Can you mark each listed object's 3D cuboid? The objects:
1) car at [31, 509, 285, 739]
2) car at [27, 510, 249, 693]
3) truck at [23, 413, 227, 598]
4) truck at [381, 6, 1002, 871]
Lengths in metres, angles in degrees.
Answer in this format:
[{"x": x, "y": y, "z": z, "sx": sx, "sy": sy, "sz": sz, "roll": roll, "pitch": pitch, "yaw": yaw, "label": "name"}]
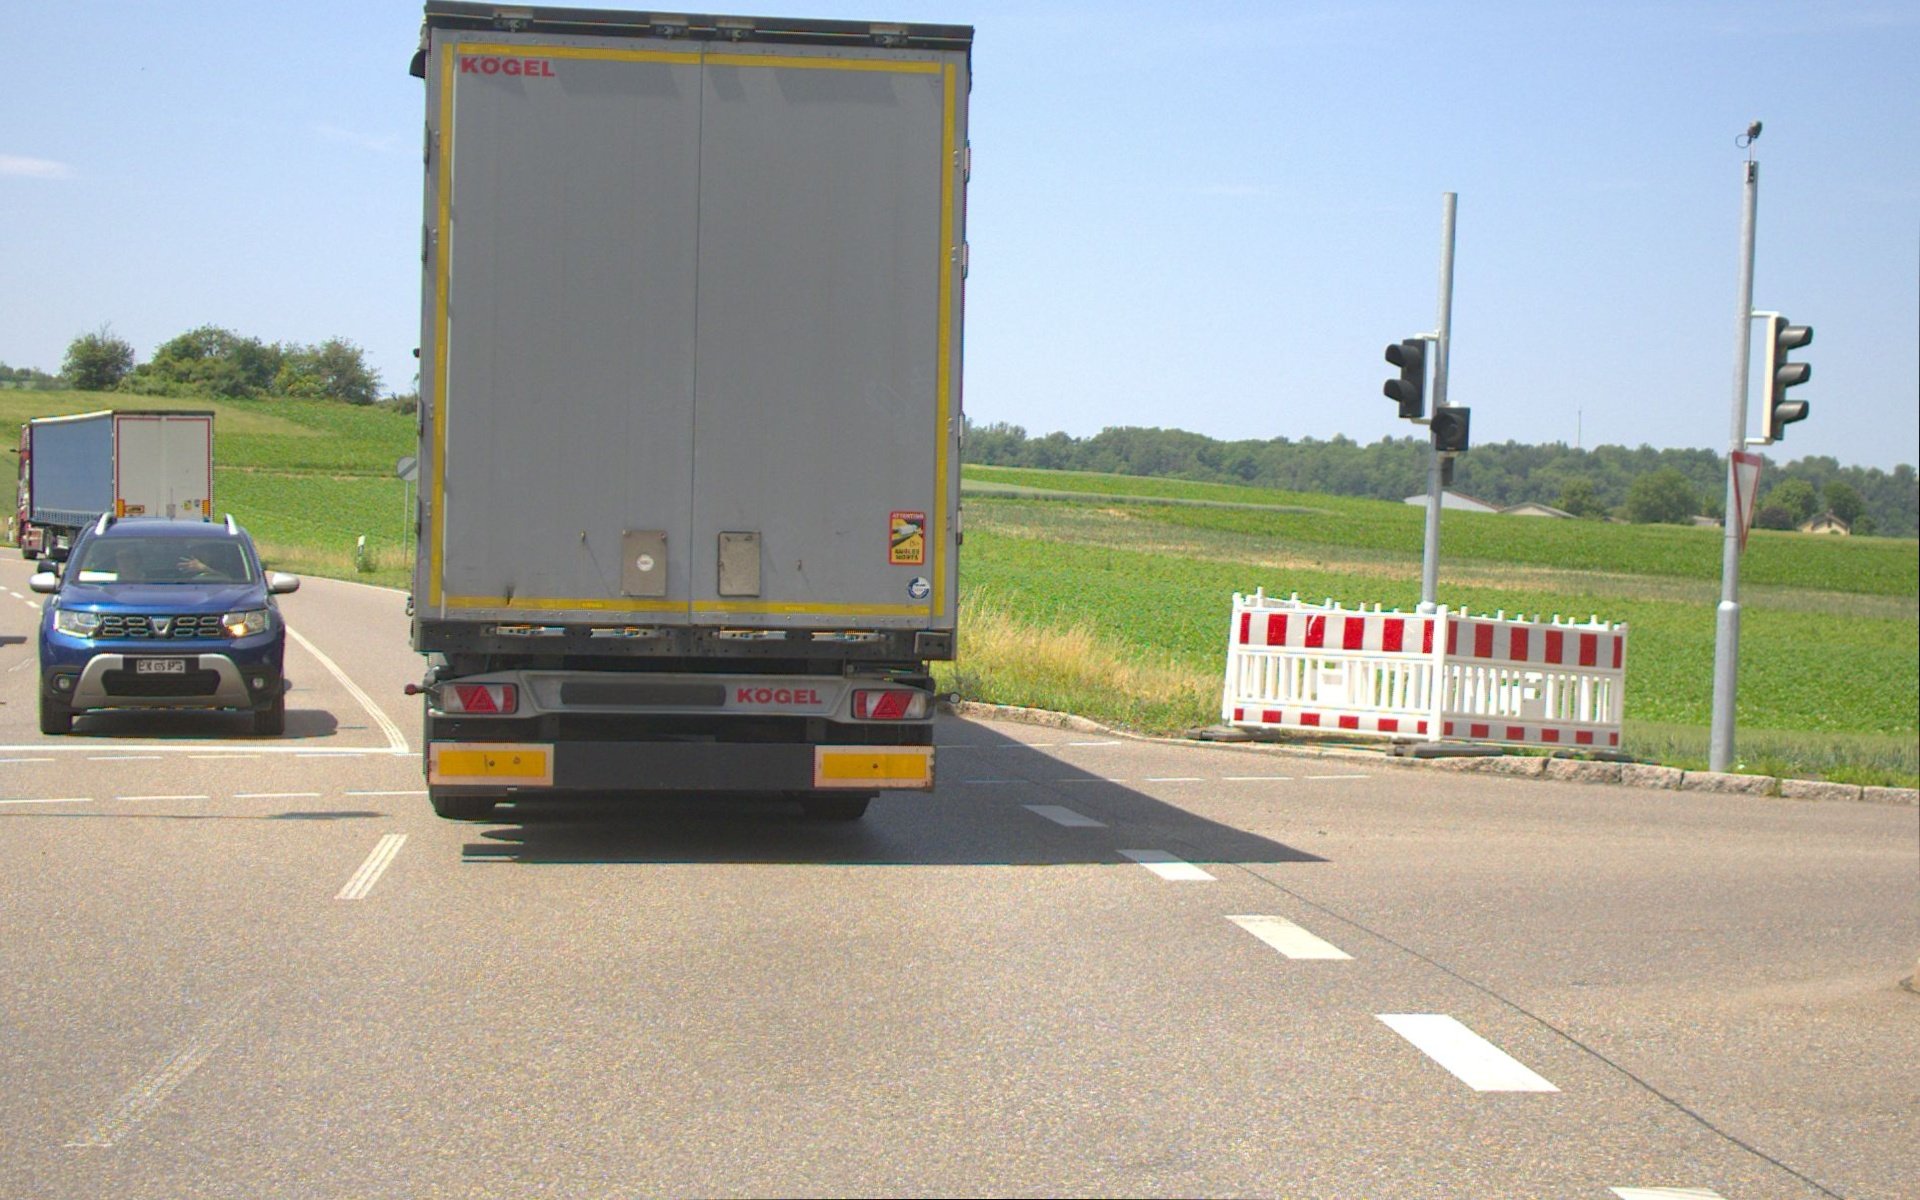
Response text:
[{"x": -6.224, "y": 0.147, "z": 26.787, "sx": 1.770, "sy": 1.653, "sz": 4.001, "roll": 1, "pitch": 1, "yaw": -13, "label": "car"}, {"x": -7.896, "y": -0.016, "z": 33.319, "sx": 1.770, "sy": 1.653, "sz": 4.001, "roll": 1, "pitch": 1, "yaw": -9, "label": "car"}, {"x": -22.929, "y": -2.460, "z": 93.537, "sx": 2.960, "sy": 4.568, "sz": 16.320, "roll": 1, "pitch": 0, "yaw": -22, "label": "truck"}, {"x": -1.892, "y": -0.794, "z": 20.581, "sx": 2.807, "sy": 3.932, "sz": 9.593, "roll": 1, "pitch": 1, "yaw": -8, "label": "truck"}]
